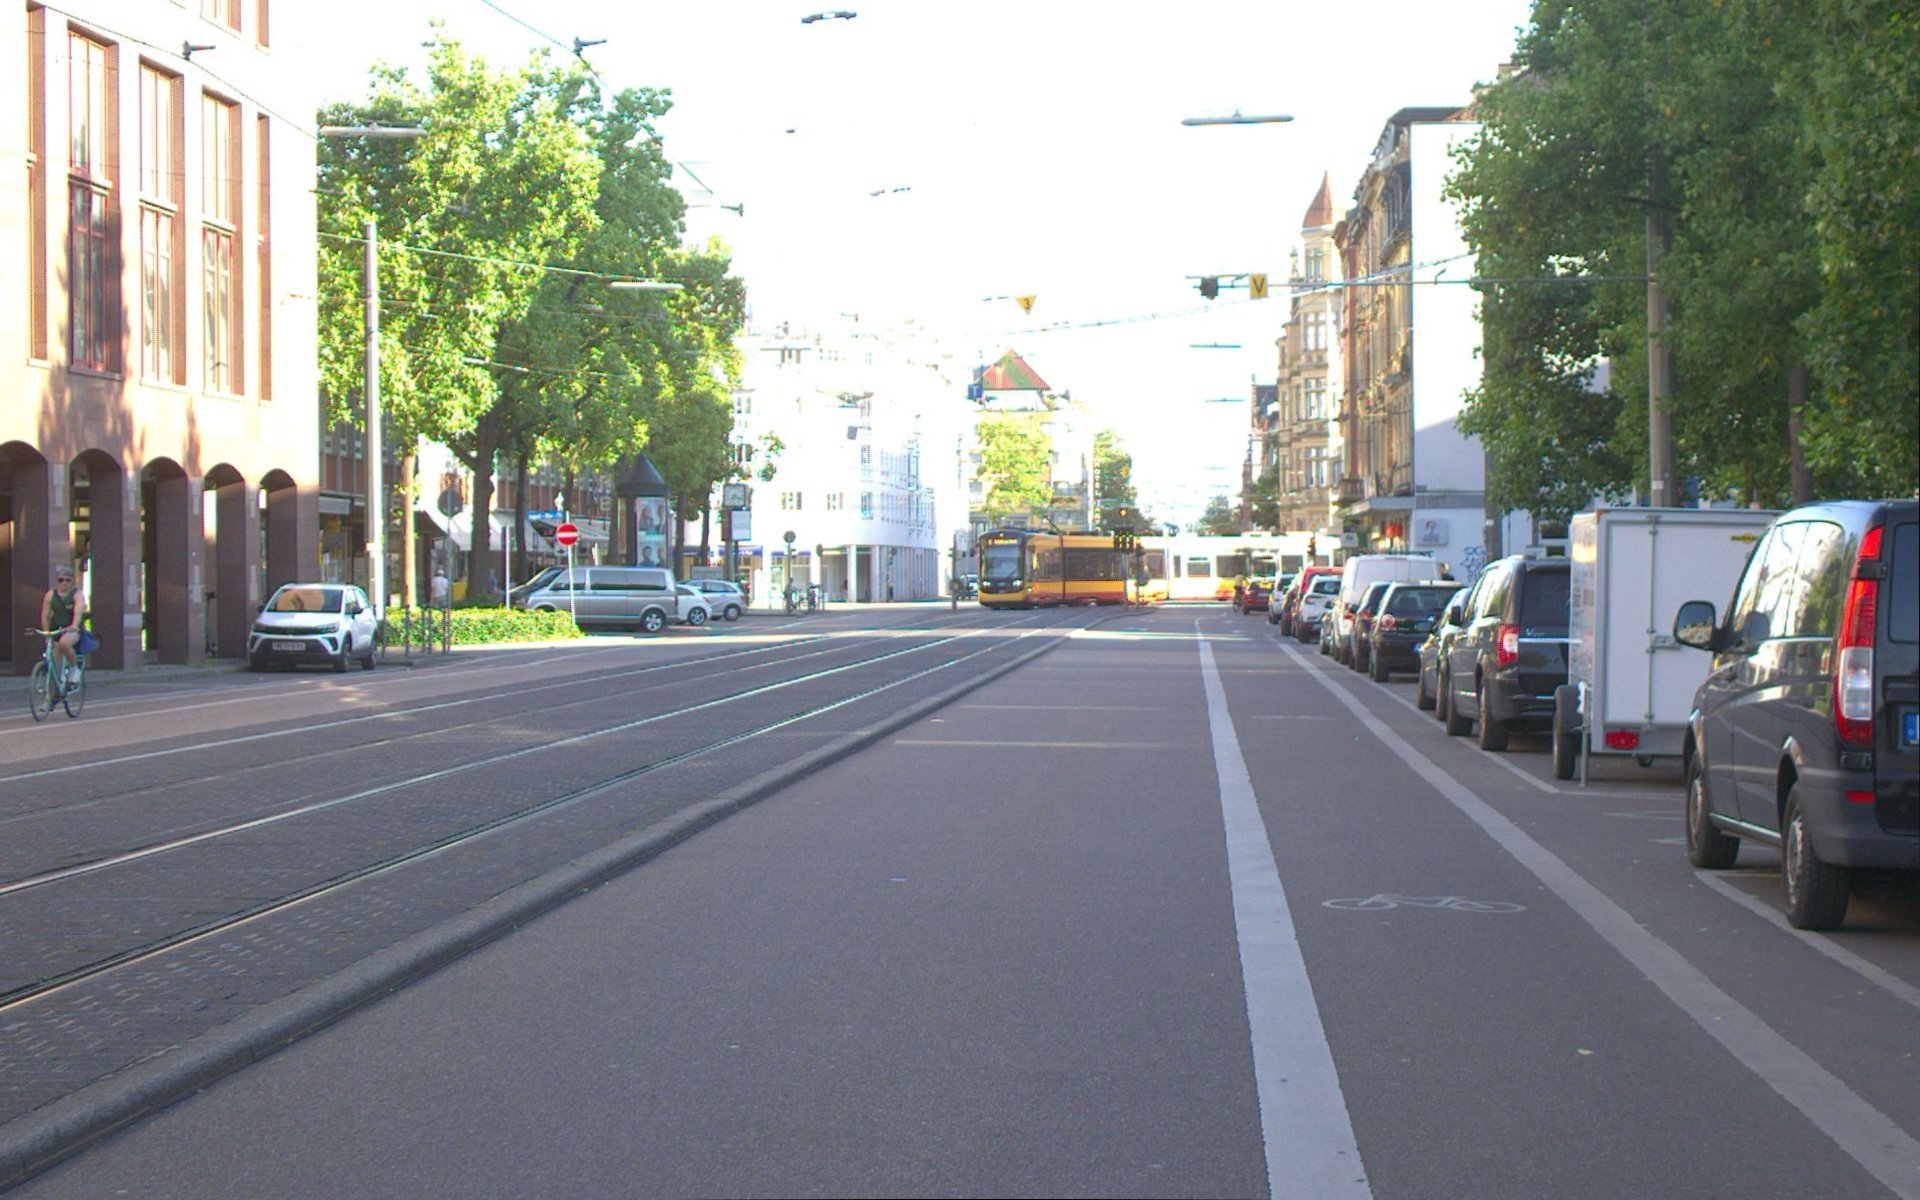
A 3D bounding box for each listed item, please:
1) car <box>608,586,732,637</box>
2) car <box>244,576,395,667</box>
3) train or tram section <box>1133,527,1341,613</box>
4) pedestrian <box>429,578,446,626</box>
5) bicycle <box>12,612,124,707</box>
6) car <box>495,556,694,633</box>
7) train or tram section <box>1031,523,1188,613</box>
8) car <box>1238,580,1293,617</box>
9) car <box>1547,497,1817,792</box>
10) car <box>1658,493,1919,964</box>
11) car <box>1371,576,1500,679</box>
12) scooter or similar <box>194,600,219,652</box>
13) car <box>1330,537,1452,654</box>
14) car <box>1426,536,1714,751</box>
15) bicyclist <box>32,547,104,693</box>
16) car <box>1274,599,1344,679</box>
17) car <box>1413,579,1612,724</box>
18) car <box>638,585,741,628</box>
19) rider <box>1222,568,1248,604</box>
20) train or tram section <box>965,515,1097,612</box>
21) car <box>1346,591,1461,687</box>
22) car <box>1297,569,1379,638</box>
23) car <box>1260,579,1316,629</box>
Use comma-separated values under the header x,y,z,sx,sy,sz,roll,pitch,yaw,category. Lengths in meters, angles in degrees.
x,y,z,sx,sy,sz,roll,pitch,yaw,category
-10.166,0.394,120.656,3.868,1.622,1.876,2,0,-27,car
-11.762,0.362,63.370,1.869,1.594,4.254,1,0,1,car
13.944,-1.473,172.148,11.252,3.739,2.700,3,0,-37,train or tram section
-14.925,0.064,98.176,0.362,1.339,0.483,3,0,-16,pedestrian
-10.587,0.693,40.873,0.582,1.074,2.185,-2,0,5,bicycle
-10.777,-0.139,101.373,5.251,2.036,2.419,3,-2,-28,car
7.222,-1.466,163.531,2.695,3.865,12.826,3,0,24,train or tram section
12.425,-0.082,139.995,2.066,1.384,4.224,3,0,4,car
5.559,0.334,26.830,1.706,2.112,3.705,1,0,7,car
4.576,0.526,16.137,1.956,1.862,4.988,2,0,5,car
6.964,0.381,50.622,1.621,1.427,3.984,1,0,4,car
-14.189,0.481,64.755,0.362,0.935,0.973,3,0,-16,scooter or similar
7.708,-0.087,61.841,1.971,2.007,4.557,-1,0,5,car
5.591,0.371,32.109,1.950,1.782,5.181,2,0,3,car
-10.597,0.234,40.852,0.571,1.706,0.745,-2,0,4,bicyclist
9.213,1.012,90.941,1.621,2.000,3.830,2,0,4,car
6.113,0.523,38.475,1.716,1.422,4.675,1,1,4,car
-10.283,0.247,130.788,3.519,1.476,1.582,2,0,-28,car
11.586,-0.603,144.881,0.885,1.476,0.712,2,0,23,rider
3.245,-1.529,152.169,2.694,3.946,12.080,3,0,16,train or tram section
7.185,0.606,55.992,1.621,1.469,3.970,1,0,4,car
8.832,0.078,80.528,1.723,1.562,4.082,0,0,4,car
10.791,0.128,113.240,1.621,1.550,4.082,2,0,4,car
